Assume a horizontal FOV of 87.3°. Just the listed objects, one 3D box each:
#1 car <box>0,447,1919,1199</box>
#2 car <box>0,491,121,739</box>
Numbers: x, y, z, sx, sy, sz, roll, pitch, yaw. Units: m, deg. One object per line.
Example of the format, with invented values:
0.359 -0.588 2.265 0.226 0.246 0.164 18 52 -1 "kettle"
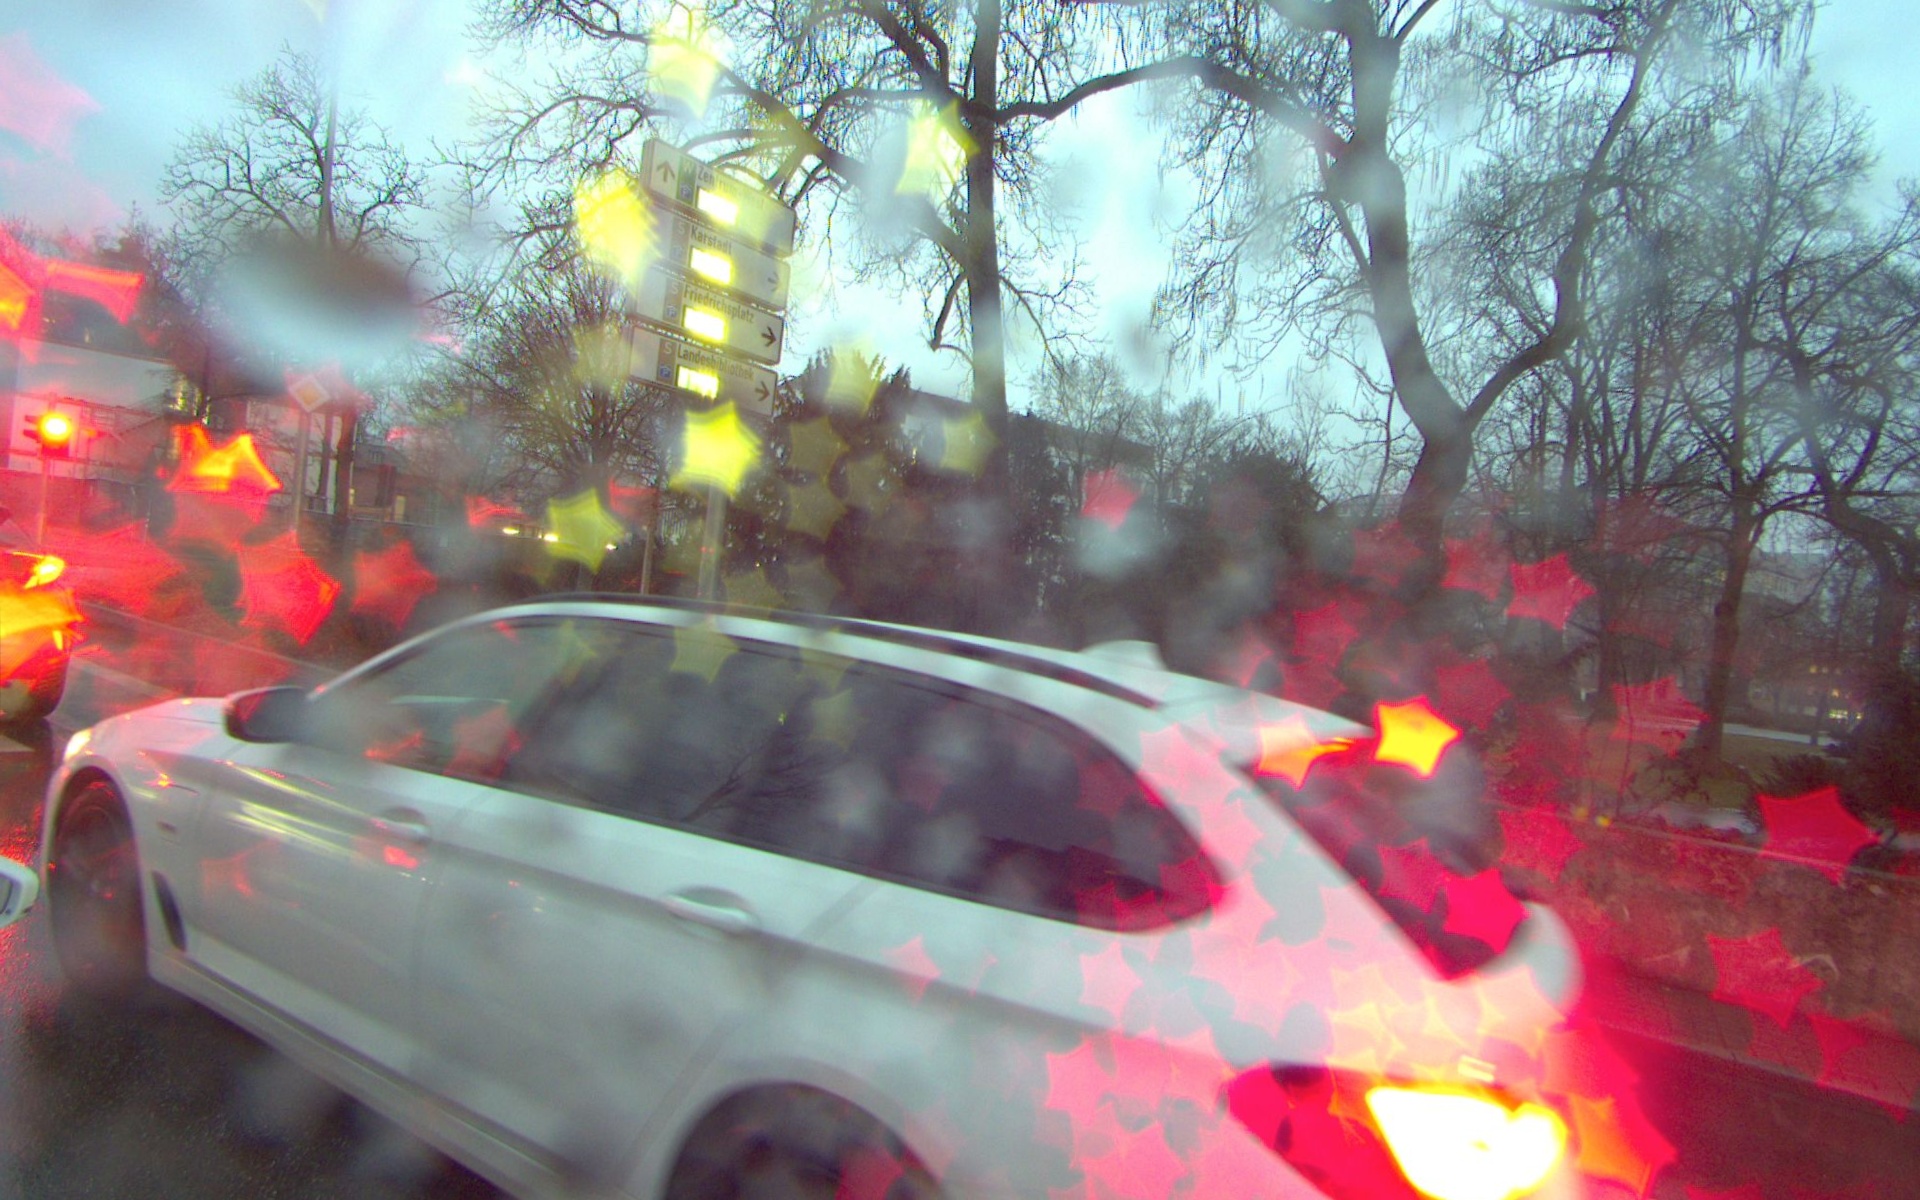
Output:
-0.707 0.595 3.011 4.853 1.575 1.866 7 0 28 "car"
-7.712 -0.117 6.910 3.831 1.529 1.802 7 0 32 "car"
